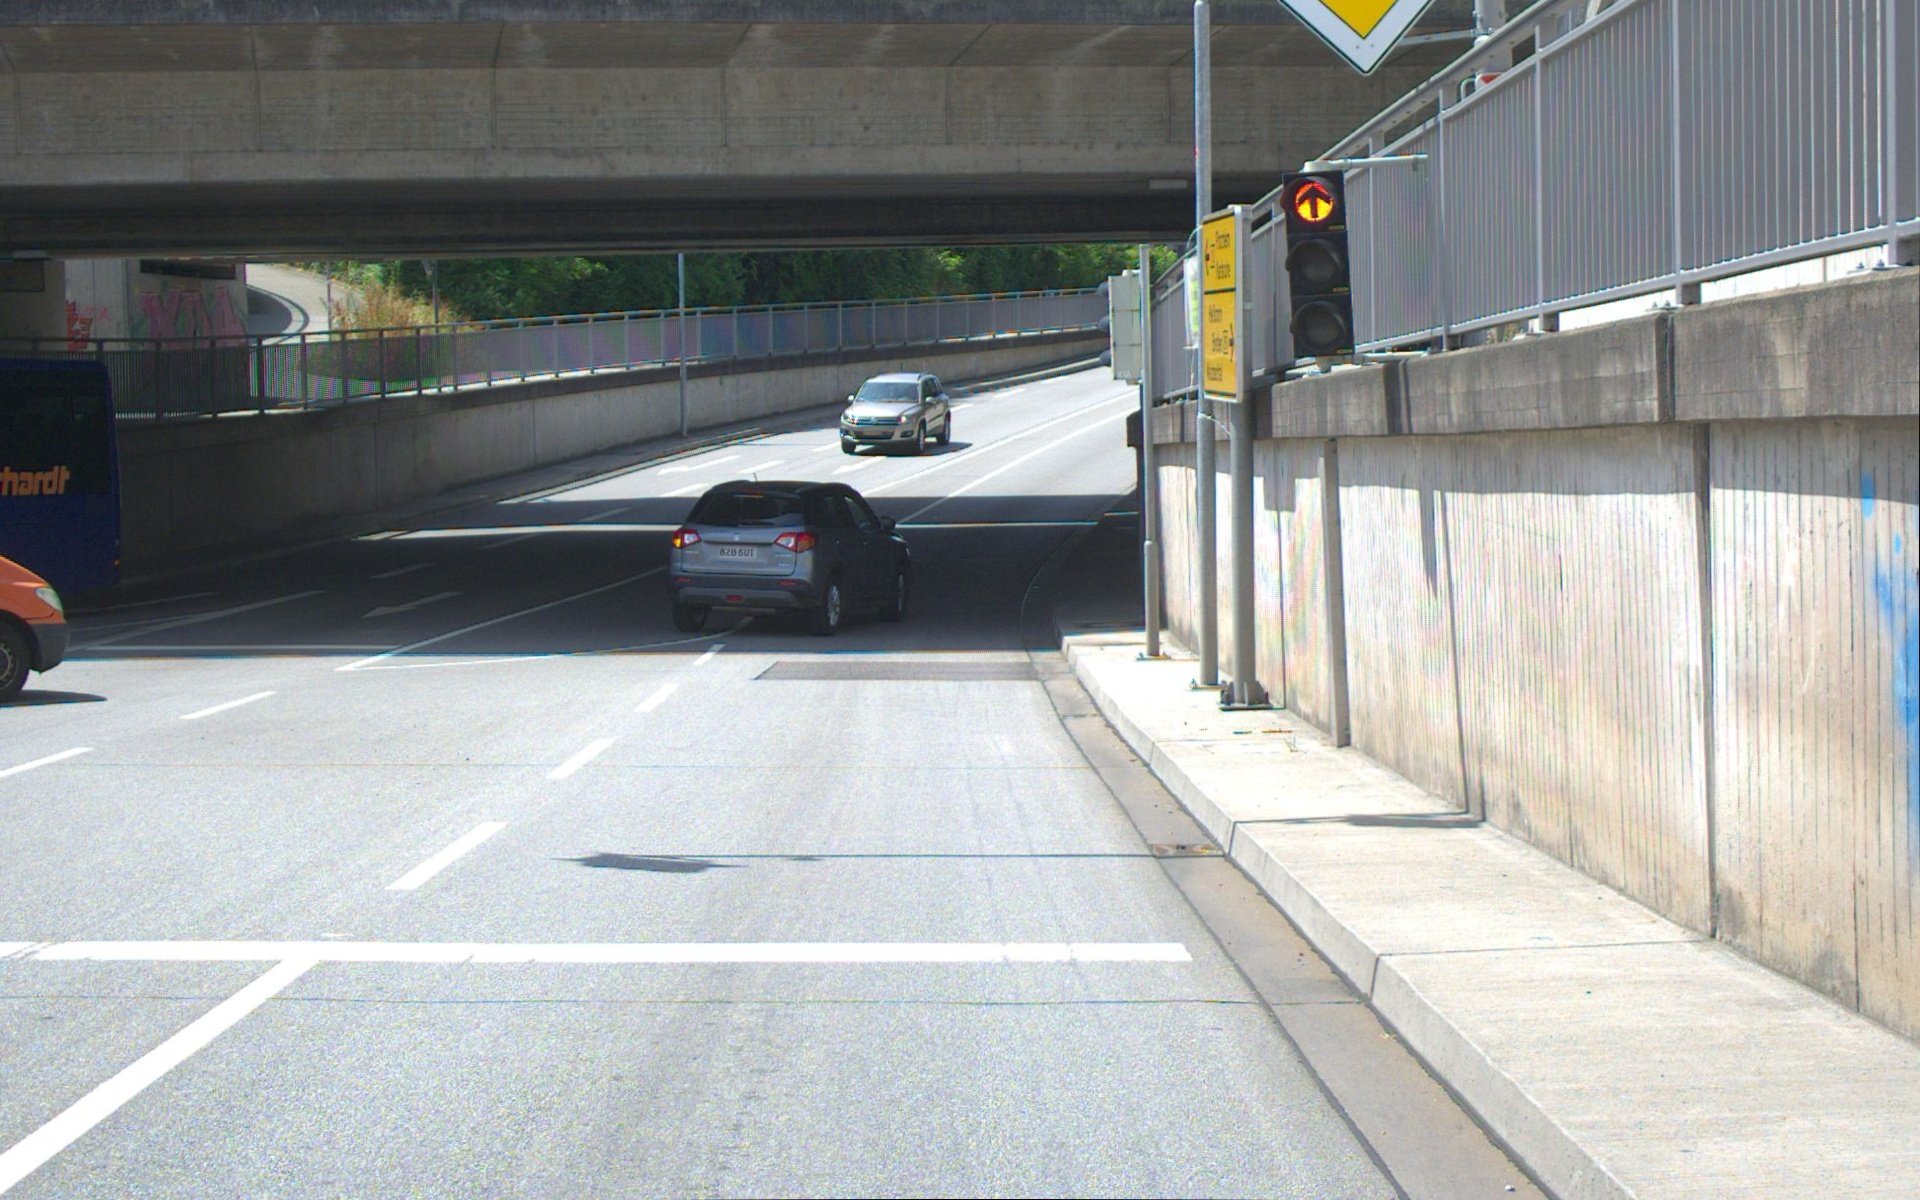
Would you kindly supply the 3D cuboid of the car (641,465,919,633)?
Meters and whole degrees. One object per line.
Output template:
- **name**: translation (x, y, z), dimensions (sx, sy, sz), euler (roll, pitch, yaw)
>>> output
- **car**: translation (-1.881, -0.603, 37.166), dimensions (1.805, 1.612, 3.998), euler (1, 4, 16)

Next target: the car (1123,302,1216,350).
- **car**: translation (6.680, -8.703, 109.329), dimensions (1.784, 1.431, 3.996), euler (1, 4, 22)

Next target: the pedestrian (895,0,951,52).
- **pedestrian**: translation (-0.425, -7.053, 37.486), dimensions (0.539, 2.074, 0.535), euler (-2, 2, -7)

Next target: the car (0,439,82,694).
- **car**: translation (-9.325, -0.221, 26.228), dimensions (4.704, 1.925, 1.879), euler (-3, 4, -33)

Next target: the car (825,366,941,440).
- **car**: translation (-1.691, -4.433, 77.076), dimensions (1.994, 1.621, 4.000), euler (0, 4, 8)

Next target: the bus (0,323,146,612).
- **bus**: translation (-13.196, -1.256, 34.842), dimensions (2.584, 3.161, 12.363), euler (1, 4, 24)
